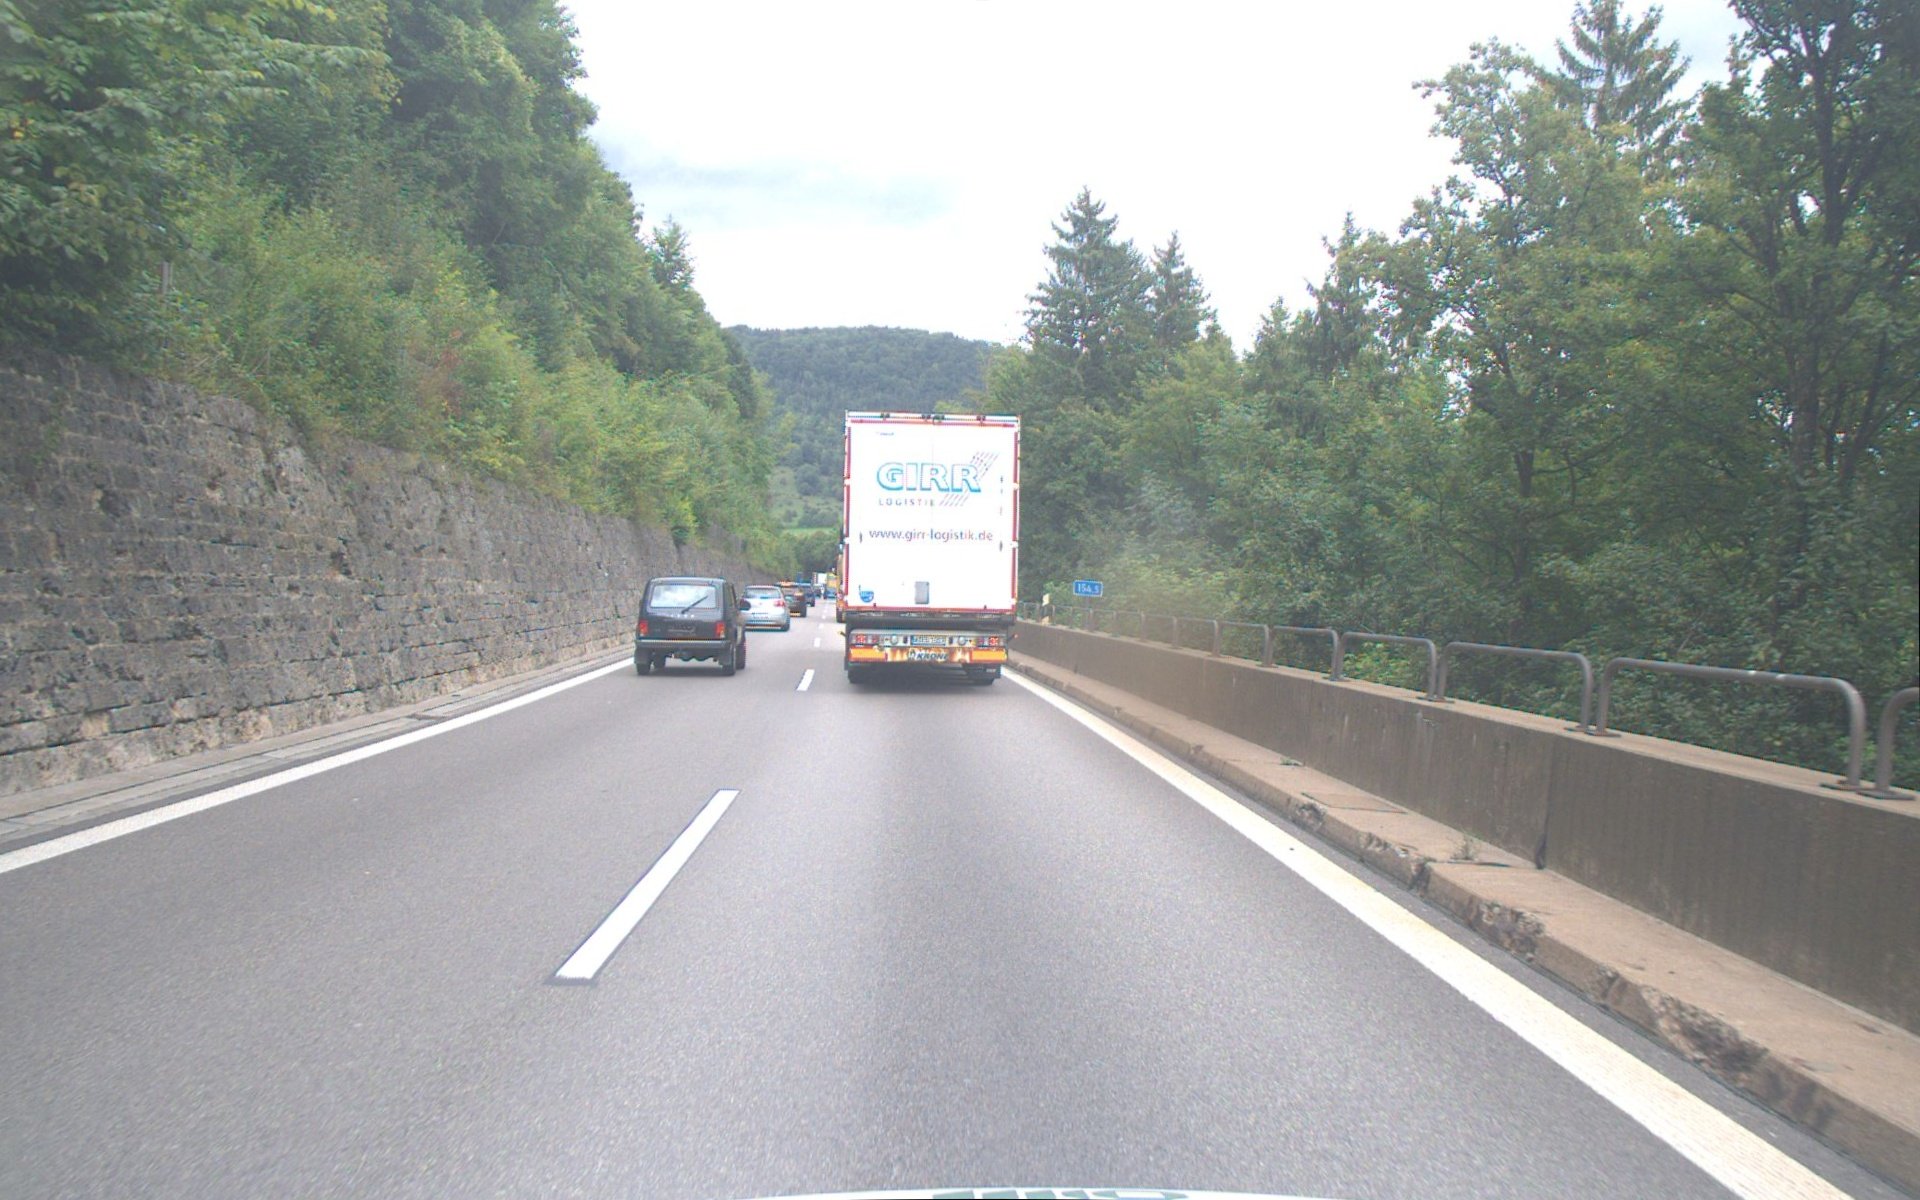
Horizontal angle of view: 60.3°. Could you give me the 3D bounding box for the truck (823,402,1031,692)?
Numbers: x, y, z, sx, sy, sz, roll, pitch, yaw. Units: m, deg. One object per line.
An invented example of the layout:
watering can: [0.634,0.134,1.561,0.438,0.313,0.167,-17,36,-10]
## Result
truck: [-0.569,-0.755,27.943,2.850,4.030,9.276,1,0,-1]

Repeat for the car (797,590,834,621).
car: [-10.132,0.404,116.453,1.952,2.049,4.001,2,-1,3]

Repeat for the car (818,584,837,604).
car: [-14.817,-0.665,184.707,1.954,2.049,3.997,2,-1,-3]

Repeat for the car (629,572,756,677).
car: [-4.554,0.398,28.665,1.635,1.667,4.066,1,0,-2]

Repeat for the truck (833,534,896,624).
truck: [-4.262,-0.846,72.291,2.437,3.634,9.299,1,0,-5]

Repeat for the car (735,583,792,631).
car: [-6.517,0.241,55.138,1.695,1.512,3.996,1,0,-4]

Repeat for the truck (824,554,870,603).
truck: [-9.596,-1.758,142.233,3.440,3.914,11.771,2,-1,-2]

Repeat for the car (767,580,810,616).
car: [-8.120,-0.104,78.720,1.879,1.622,4.175,1,0,-4]
